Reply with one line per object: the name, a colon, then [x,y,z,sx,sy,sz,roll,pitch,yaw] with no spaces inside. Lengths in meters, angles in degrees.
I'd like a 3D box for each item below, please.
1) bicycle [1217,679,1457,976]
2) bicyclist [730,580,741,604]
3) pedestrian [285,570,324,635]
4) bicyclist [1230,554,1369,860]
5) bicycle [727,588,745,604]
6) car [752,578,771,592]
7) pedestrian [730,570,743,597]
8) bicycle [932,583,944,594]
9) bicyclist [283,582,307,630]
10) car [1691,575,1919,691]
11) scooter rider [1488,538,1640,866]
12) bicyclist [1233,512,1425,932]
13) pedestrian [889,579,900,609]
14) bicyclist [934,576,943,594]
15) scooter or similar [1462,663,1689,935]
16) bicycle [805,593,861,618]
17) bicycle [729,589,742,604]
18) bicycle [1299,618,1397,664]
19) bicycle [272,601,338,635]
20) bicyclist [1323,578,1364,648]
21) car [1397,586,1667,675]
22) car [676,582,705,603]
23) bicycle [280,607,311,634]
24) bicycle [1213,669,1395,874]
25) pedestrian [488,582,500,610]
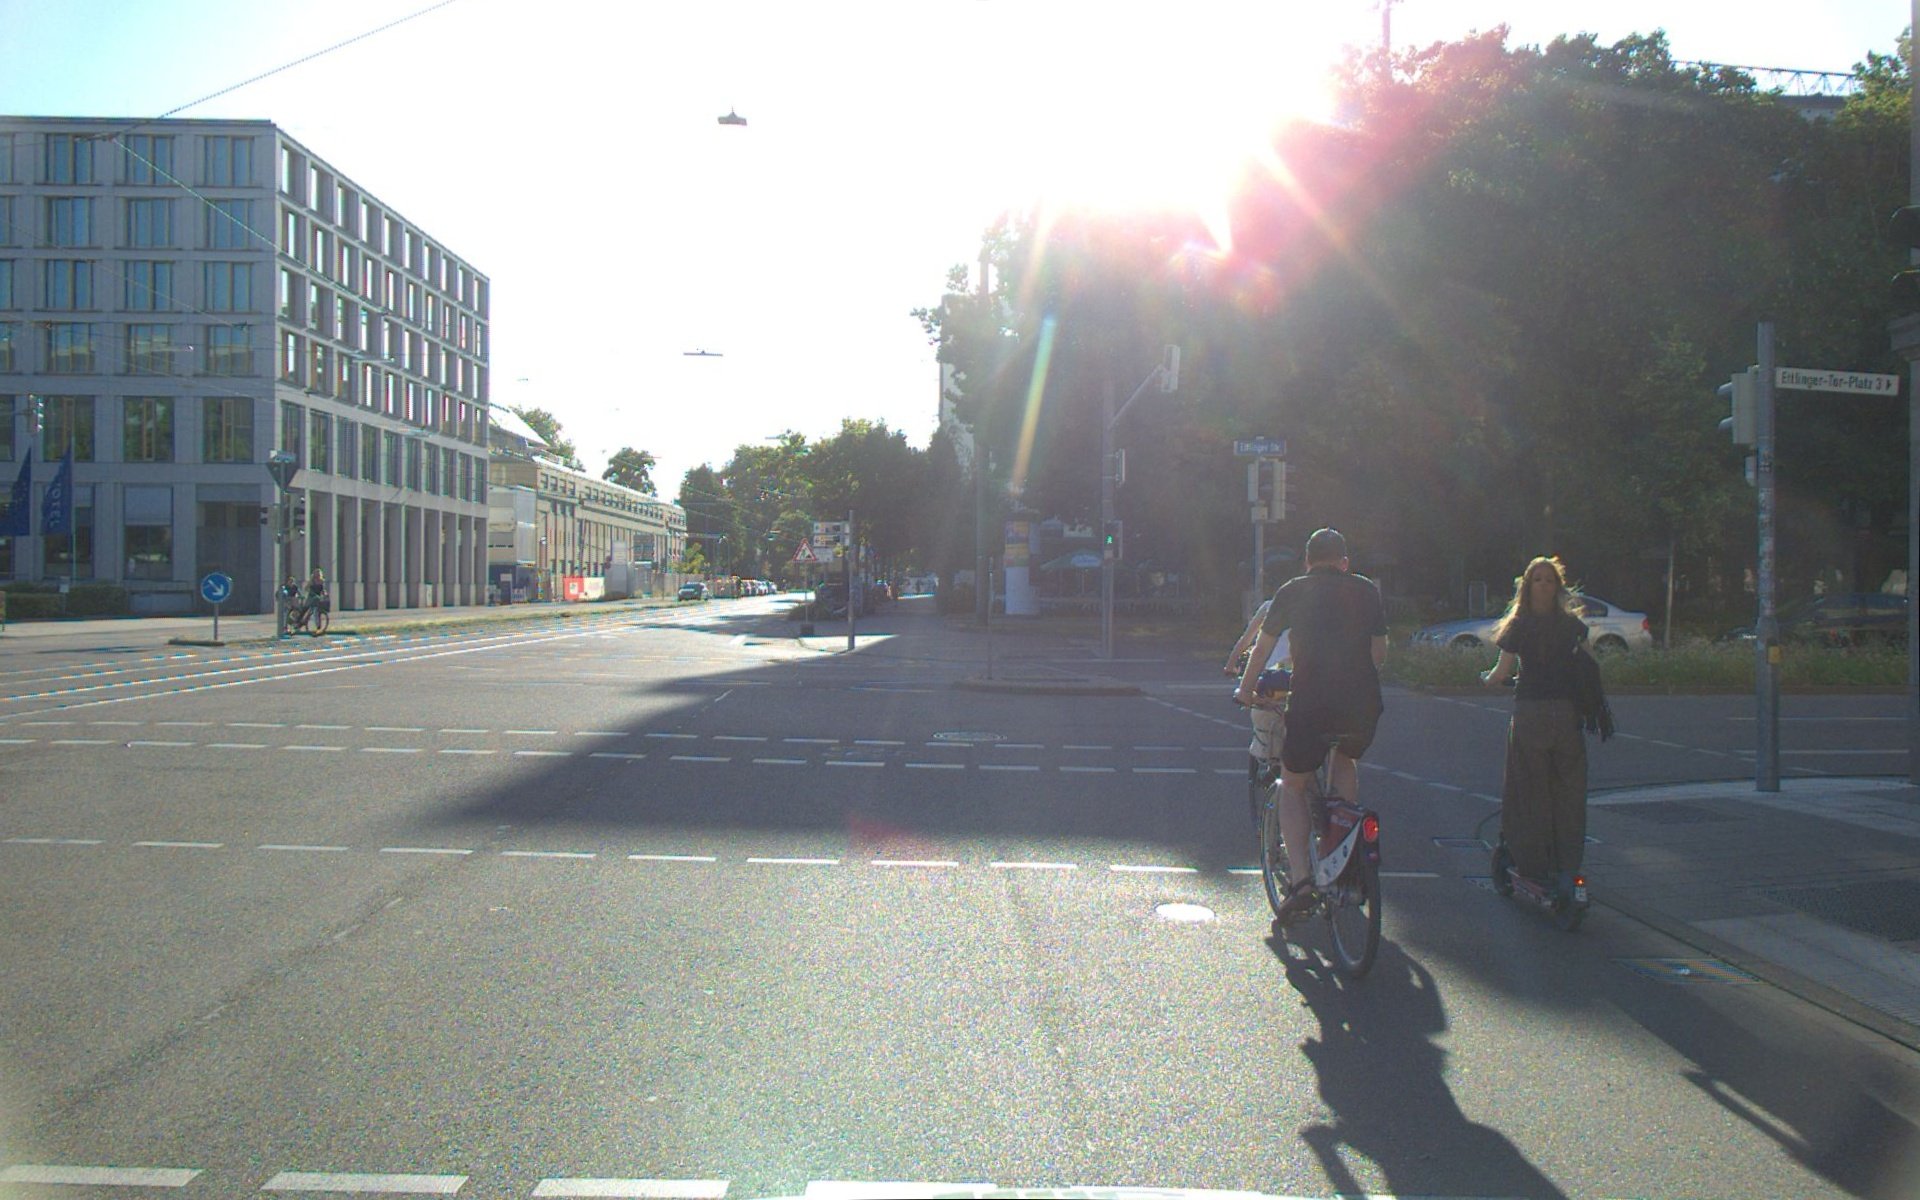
bicycle: [1.612,0.931,7.348,0.610,1.062,1.746,0,0,-2]
bicyclist: [-18.744,-0.685,138.051,0.735,1.953,1.214,1,0,-2]
pedestrian: [-16.554,0.060,41.757,0.727,1.623,0.573,0,0,26]
bicyclist: [2.053,0.618,10.092,0.572,1.769,0.949,0,0,-6]
bicycle: [-17.820,-0.312,131.613,0.735,1.226,3.109,1,0,5]
car: [-23.103,-1.759,192.308,1.954,1.673,3.997,0,0,-4]
pedestrian: [-17.800,-1.288,131.687,0.735,2.099,1.050,1,0,4]
bicycle: [-2.603,-1.390,198.399,0.875,1.240,2.785,1,0,-12]
bicyclist: [-21.240,0.183,52.827,0.484,1.525,0.666,0,0,2]
car: [16.264,0.610,31.354,3.905,2.049,2.000,1,0,0]
scooter rider: [3.028,0.496,8.320,0.534,1.590,0.576,0,0,-3]
bicyclist: [1.612,0.503,7.340,0.611,1.745,0.912,0,0,-3]
pedestrian: [-3.781,-0.369,95.464,0.566,1.719,0.584,0,0,-8]
bicyclist: [-2.580,-1.789,198.305,0.875,2.049,0.746,1,-1,-12]
scooter or similar: [3.000,0.933,8.175,0.561,1.169,1.271,2,0,-3]
bicycle: [-4.998,0.220,65.086,2.201,0.956,0.653,0,0,-6]
bicycle: [-18.746,-0.318,137.943,0.735,1.226,3.107,1,0,-2]
bicycle: [8.068,0.843,34.455,1.902,0.905,0.718,1,0,5]
bicycle: [-16.541,0.457,41.749,1.679,0.837,0.573,0,0,27]
bicyclist: [7.991,0.268,34.462,0.731,1.431,0.702,1,0,6]
car: [10.886,0.570,31.697,4.483,1.543,2.000,1,0,-1]
car: [-21.713,-0.620,133.364,1.954,1.627,3.997,0,0,-3]
bicycle: [-21.231,0.642,52.844,0.484,0.854,1.156,0,0,2]
bicycle: [2.057,0.993,10.121,0.571,1.062,1.744,0,0,-7]
pedestrian: [-32.039,-0.272,113.645,0.575,1.922,0.478,1,-1,12]
